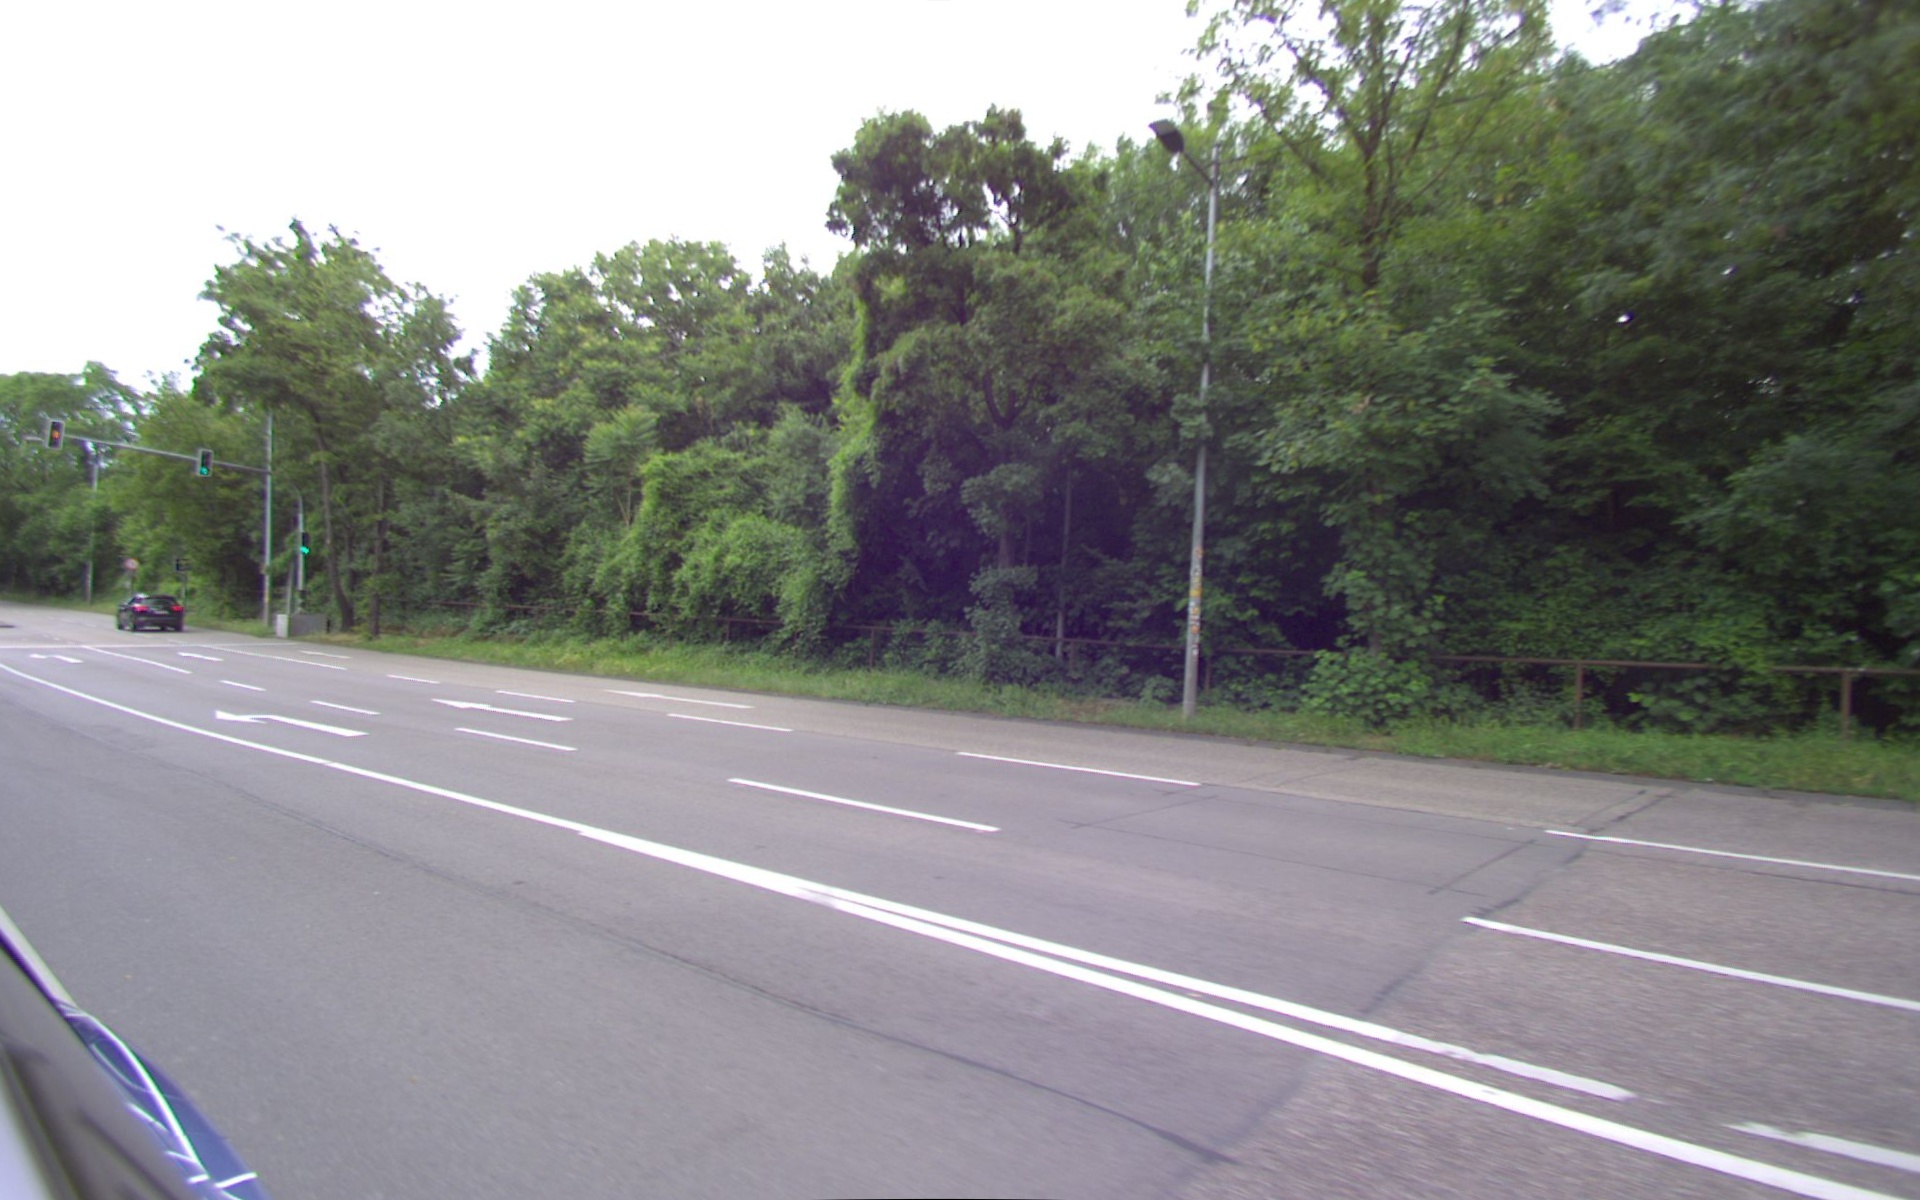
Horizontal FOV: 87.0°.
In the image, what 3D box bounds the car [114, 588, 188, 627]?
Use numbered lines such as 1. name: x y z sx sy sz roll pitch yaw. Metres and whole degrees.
1. car: -36.323 0.319 45.398 4.218 1.666 1.803 1 -1 40
